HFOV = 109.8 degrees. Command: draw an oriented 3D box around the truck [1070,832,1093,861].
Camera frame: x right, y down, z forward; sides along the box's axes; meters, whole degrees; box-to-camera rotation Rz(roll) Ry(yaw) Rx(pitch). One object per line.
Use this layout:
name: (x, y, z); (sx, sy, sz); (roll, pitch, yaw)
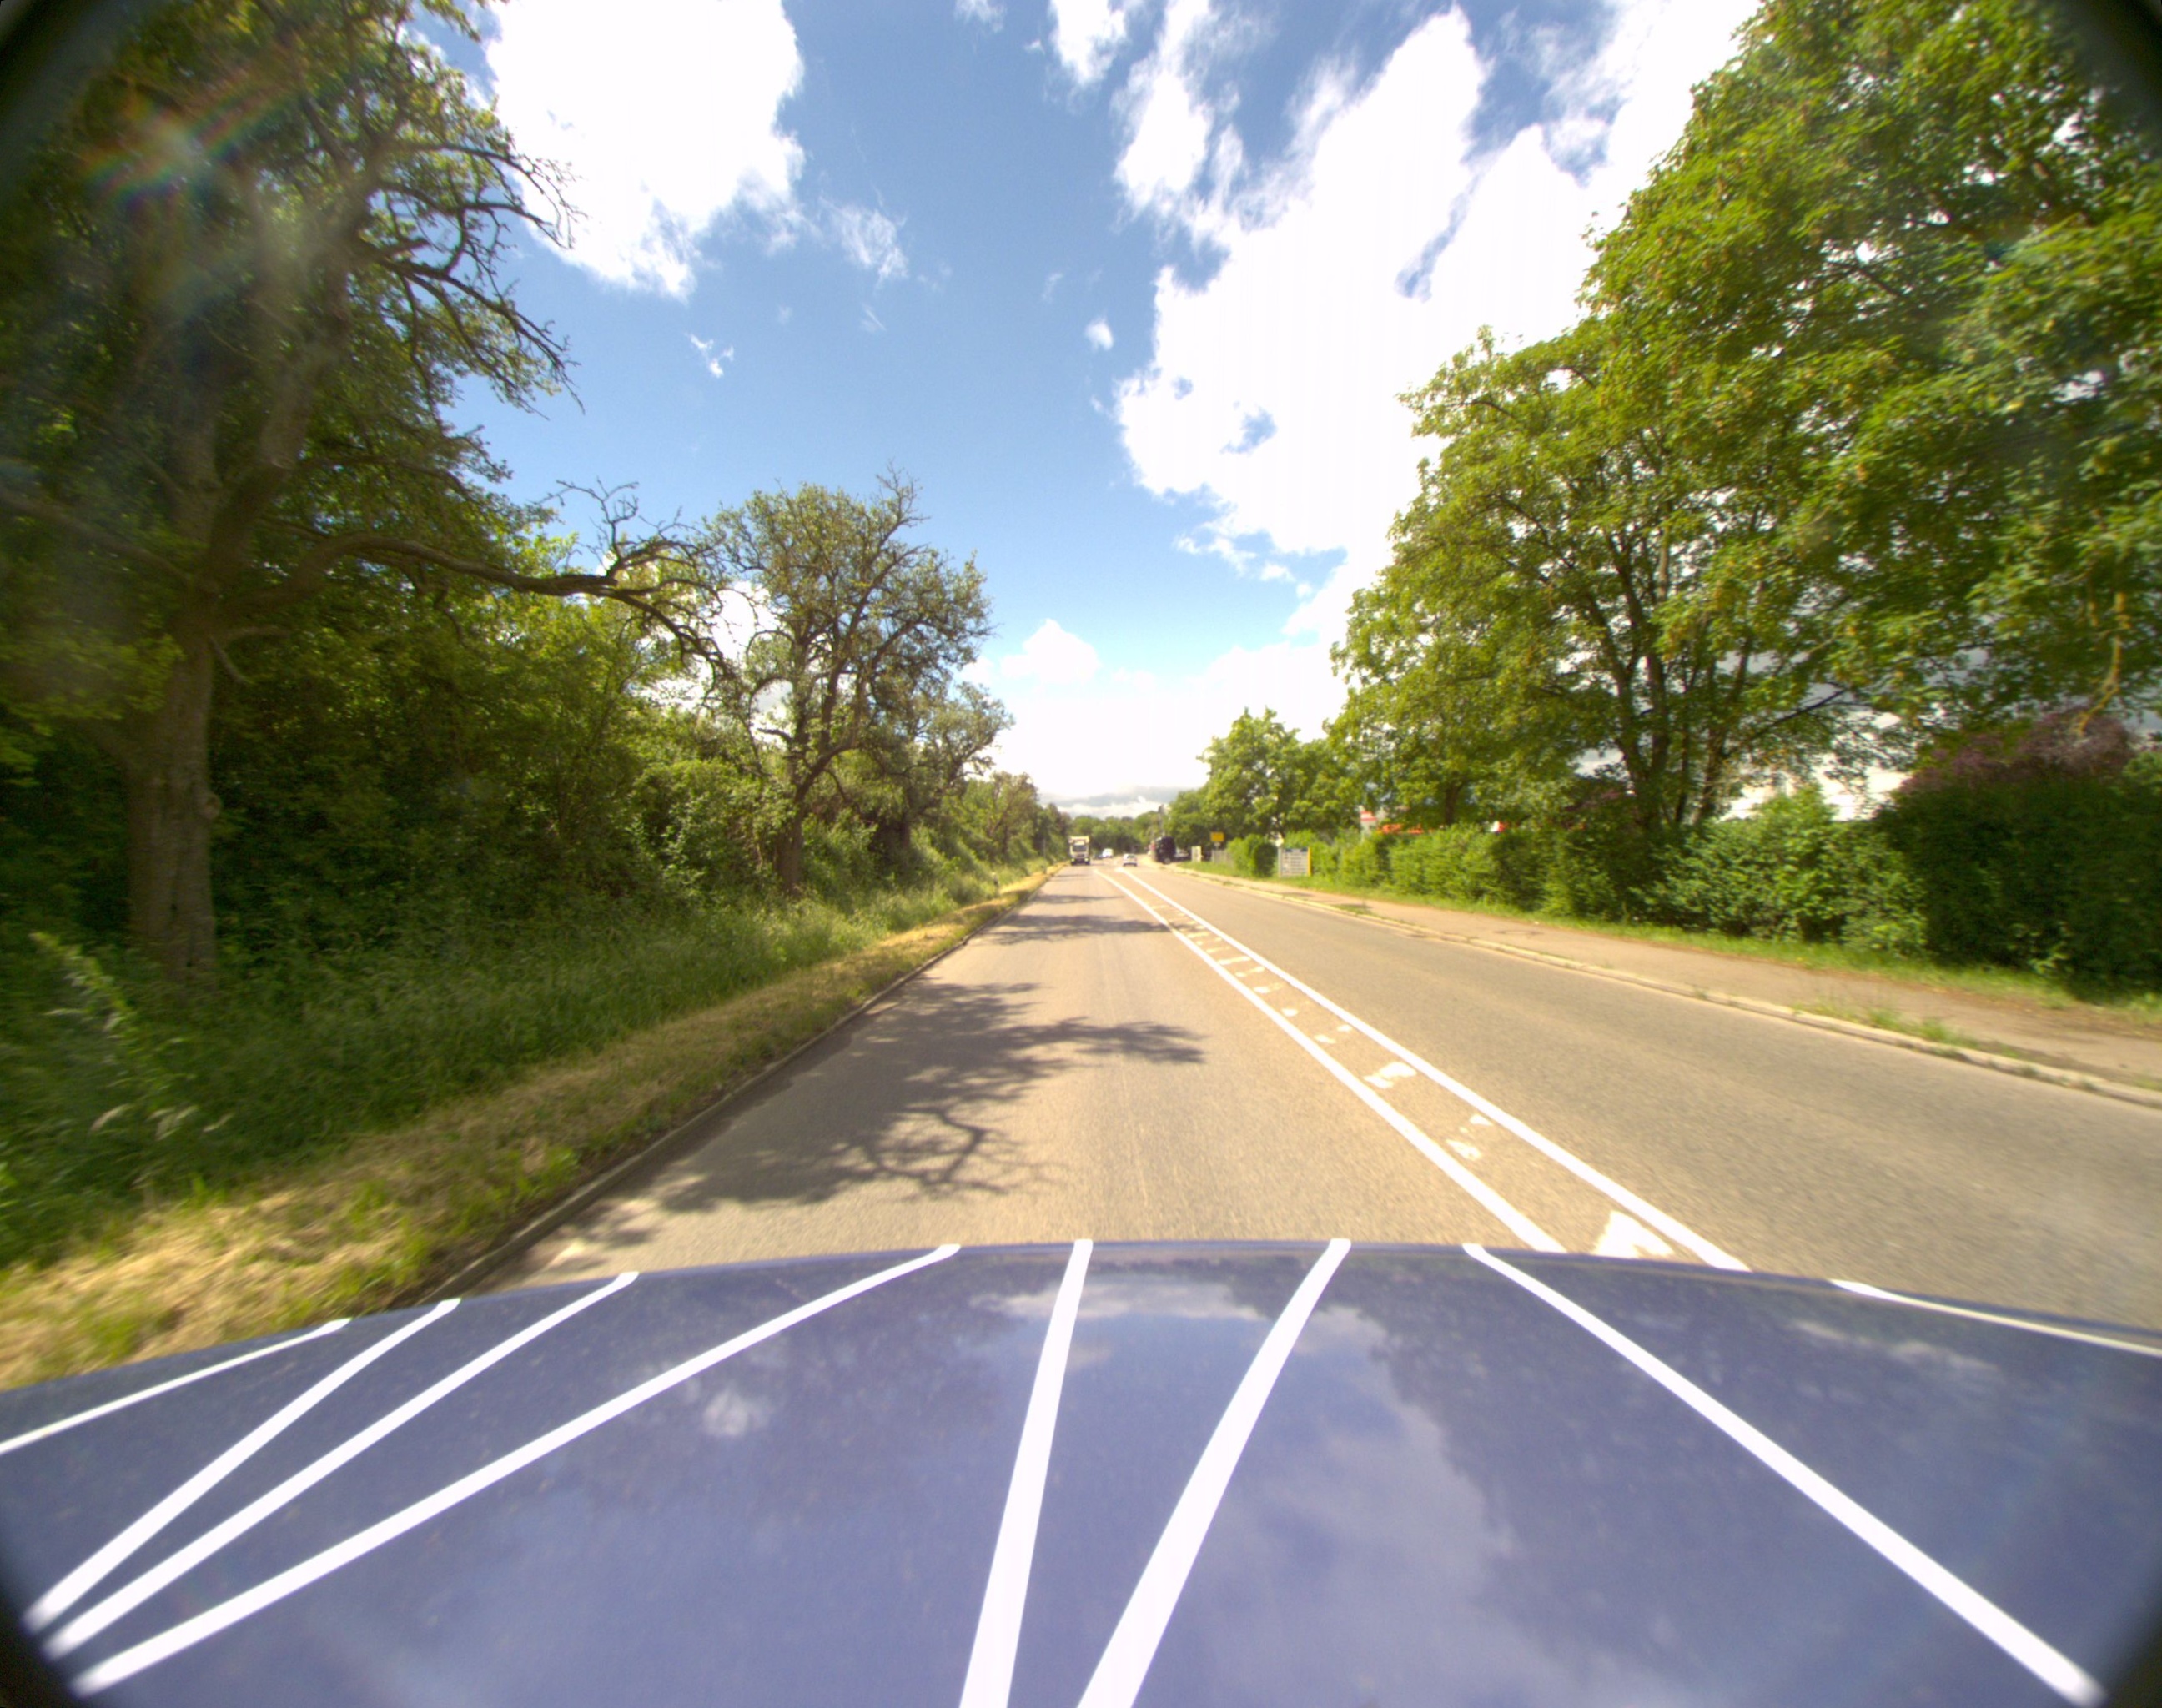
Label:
truck: (0.137, -1.027, 103.653); (2.904, 3.746, 9.634); (-1, 1, 1)

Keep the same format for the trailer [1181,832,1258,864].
trailer: (18.273, -0.786, 100.627); (9.471, 4.059, 3.315); (-1, 1, -14)

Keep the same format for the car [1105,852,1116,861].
car: (6.300, 0.506, 163.033); (1.953, 2.002, 4.002); (0, 0, 8)

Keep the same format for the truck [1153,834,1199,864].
truck: (12.384, -0.659, 99.488); (5.570, 3.801, 2.983); (-1, 1, -3)

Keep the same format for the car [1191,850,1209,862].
car: (16.811, 0.257, 107.565); (1.935, 1.711, 4.601); (-1, 0, 3)

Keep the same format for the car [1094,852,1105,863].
car: (3.526, 0.625, 142.355); (1.953, 2.002, 4.001); (0, 0, 4)

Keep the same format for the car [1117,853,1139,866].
car: (5.640, 0.636, 89.953); (1.996, 1.442, 4.430); (1, 1, 11)
